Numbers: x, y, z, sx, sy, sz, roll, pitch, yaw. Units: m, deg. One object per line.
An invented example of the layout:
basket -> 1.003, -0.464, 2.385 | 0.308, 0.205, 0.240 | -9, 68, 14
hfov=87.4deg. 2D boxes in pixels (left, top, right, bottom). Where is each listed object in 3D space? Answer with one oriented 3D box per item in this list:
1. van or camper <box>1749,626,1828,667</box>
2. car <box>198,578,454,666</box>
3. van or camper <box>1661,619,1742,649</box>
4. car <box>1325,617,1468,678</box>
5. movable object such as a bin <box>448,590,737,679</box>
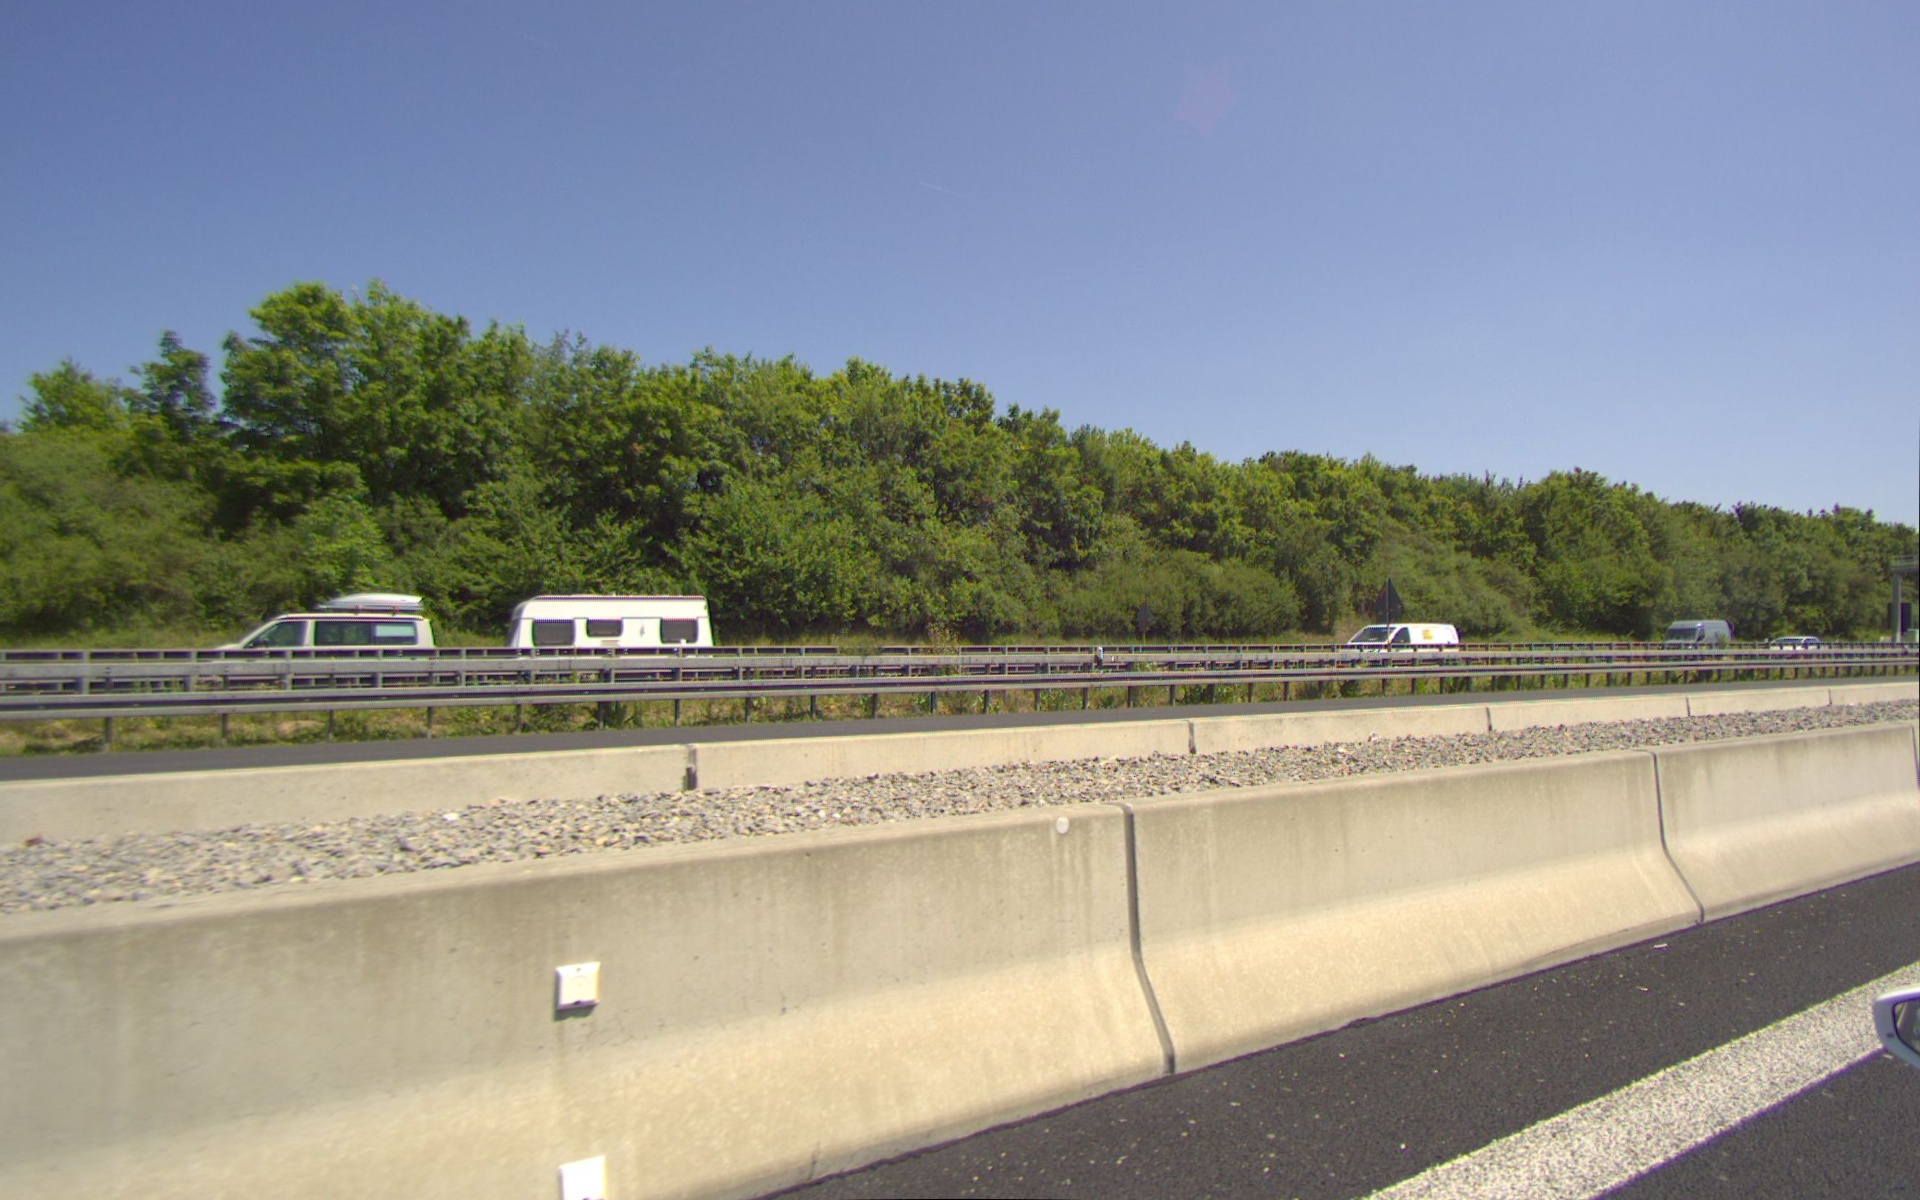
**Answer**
van or camper -> 44.127, 2.480, 53.488 | 3.953, 2.040, 1.984 | 2, 0, -30
car -> -14.438, 0.552, 23.173 | 4.763, 1.830, 1.983 | 2, -3, -32
van or camper -> 46.349, 2.102, 62.726 | 5.460, 1.822, 1.985 | 1, -1, -29
car -> 15.963, 1.714, 36.646 | 5.286, 2.040, 1.984 | 2, 0, -30
movable object such as a bin -> -9.465, 0.894, 26.163 | 6.704, 2.040, 2.494 | 2, 0, -32
